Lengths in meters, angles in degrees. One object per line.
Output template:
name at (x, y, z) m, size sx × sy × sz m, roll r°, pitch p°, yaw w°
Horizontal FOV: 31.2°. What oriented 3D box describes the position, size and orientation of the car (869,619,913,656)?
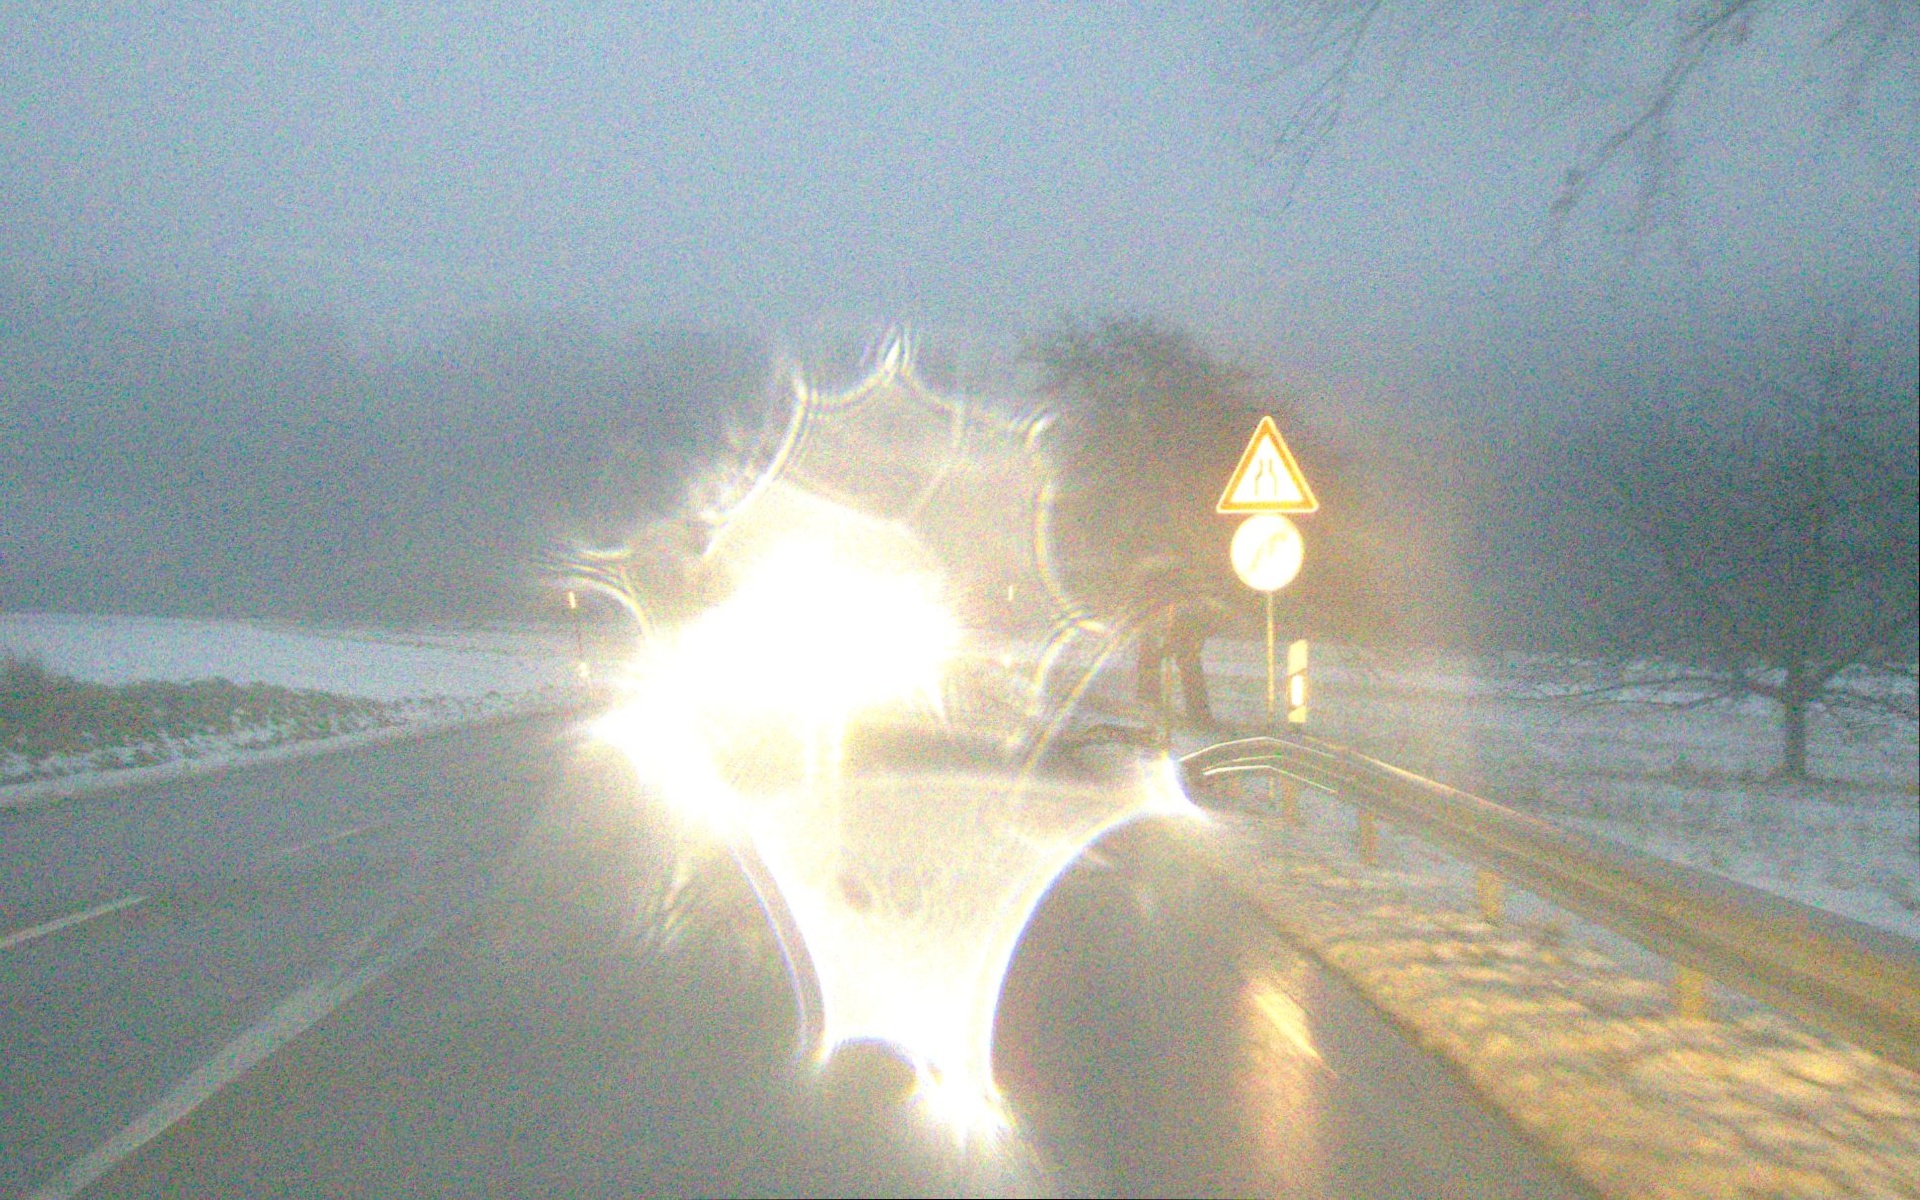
car at (-3.090, 1.675, 154.711) m, size 1.692 × 1.547 × 3.855 m, roll 0°, pitch 1°, yaw 2°
